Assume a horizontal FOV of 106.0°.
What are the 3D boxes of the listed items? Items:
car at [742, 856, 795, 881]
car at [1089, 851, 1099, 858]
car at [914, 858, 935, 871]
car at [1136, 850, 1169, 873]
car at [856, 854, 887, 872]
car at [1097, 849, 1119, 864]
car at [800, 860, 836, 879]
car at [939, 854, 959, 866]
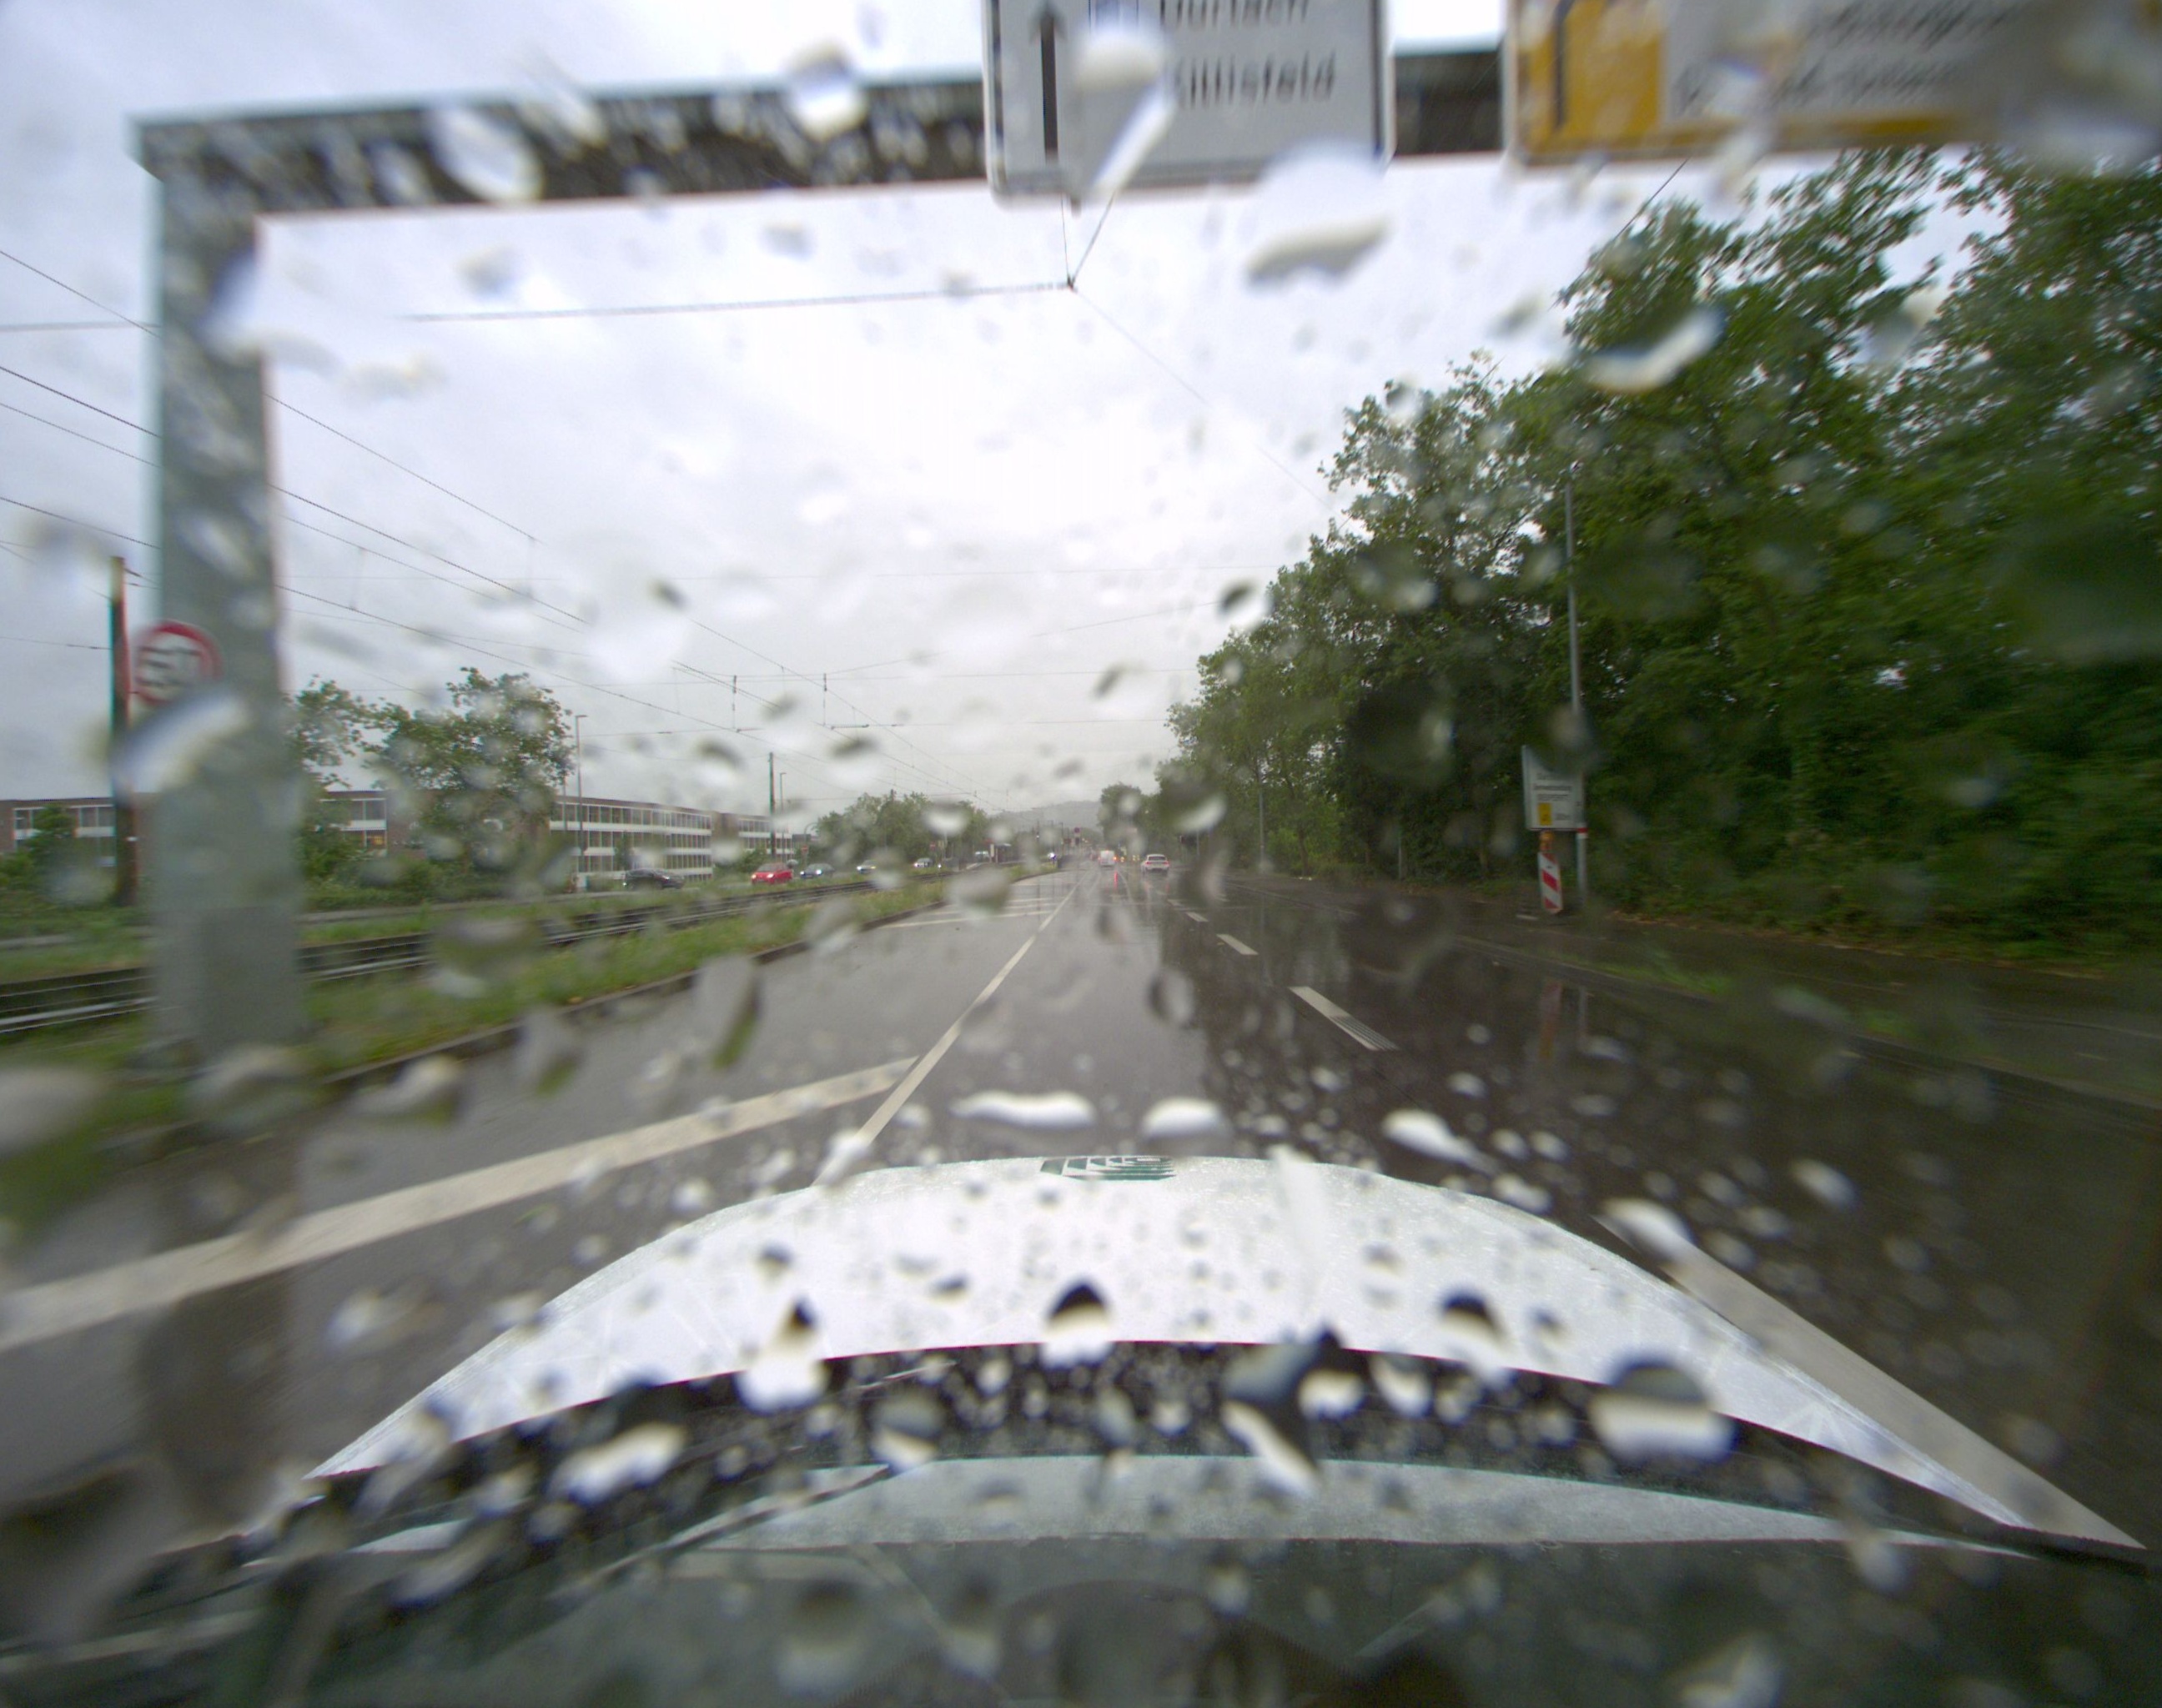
[{"bbox_3d":[-19.828,0.900,51.798,1.714,1.494,4.001,-1,0,1],"label":"car"},{"bbox_3d":[2.794,0.026,175.533,1.986,1.547,4.001,0,0,1],"label":"car"},{"bbox_3d":[-18.983,1.261,98.882,1.714,1.494,4.001,-1,0,1],"label":"car"},{"bbox_3d":[5.019,0.501,57.689,1.941,1.536,4.467,-1,0,1],"label":"car"},{"bbox_3d":[-19.208,0.814,74.746,1.714,1.494,4.001,-1,0,1],"label":"car"},{"bbox_3d":[2.660,0.250,79.288,2.069,1.420,4.002,-1,0,2],"label":"car"},{"bbox_3d":[-22.545,1.286,69.957,1.714,1.494,4.001,-1,0,1],"label":"car"},{"bbox_3d":[-16.172,0.714,100.102,1.714,1.494,4.001,-1,0,1],"label":"car"}]
